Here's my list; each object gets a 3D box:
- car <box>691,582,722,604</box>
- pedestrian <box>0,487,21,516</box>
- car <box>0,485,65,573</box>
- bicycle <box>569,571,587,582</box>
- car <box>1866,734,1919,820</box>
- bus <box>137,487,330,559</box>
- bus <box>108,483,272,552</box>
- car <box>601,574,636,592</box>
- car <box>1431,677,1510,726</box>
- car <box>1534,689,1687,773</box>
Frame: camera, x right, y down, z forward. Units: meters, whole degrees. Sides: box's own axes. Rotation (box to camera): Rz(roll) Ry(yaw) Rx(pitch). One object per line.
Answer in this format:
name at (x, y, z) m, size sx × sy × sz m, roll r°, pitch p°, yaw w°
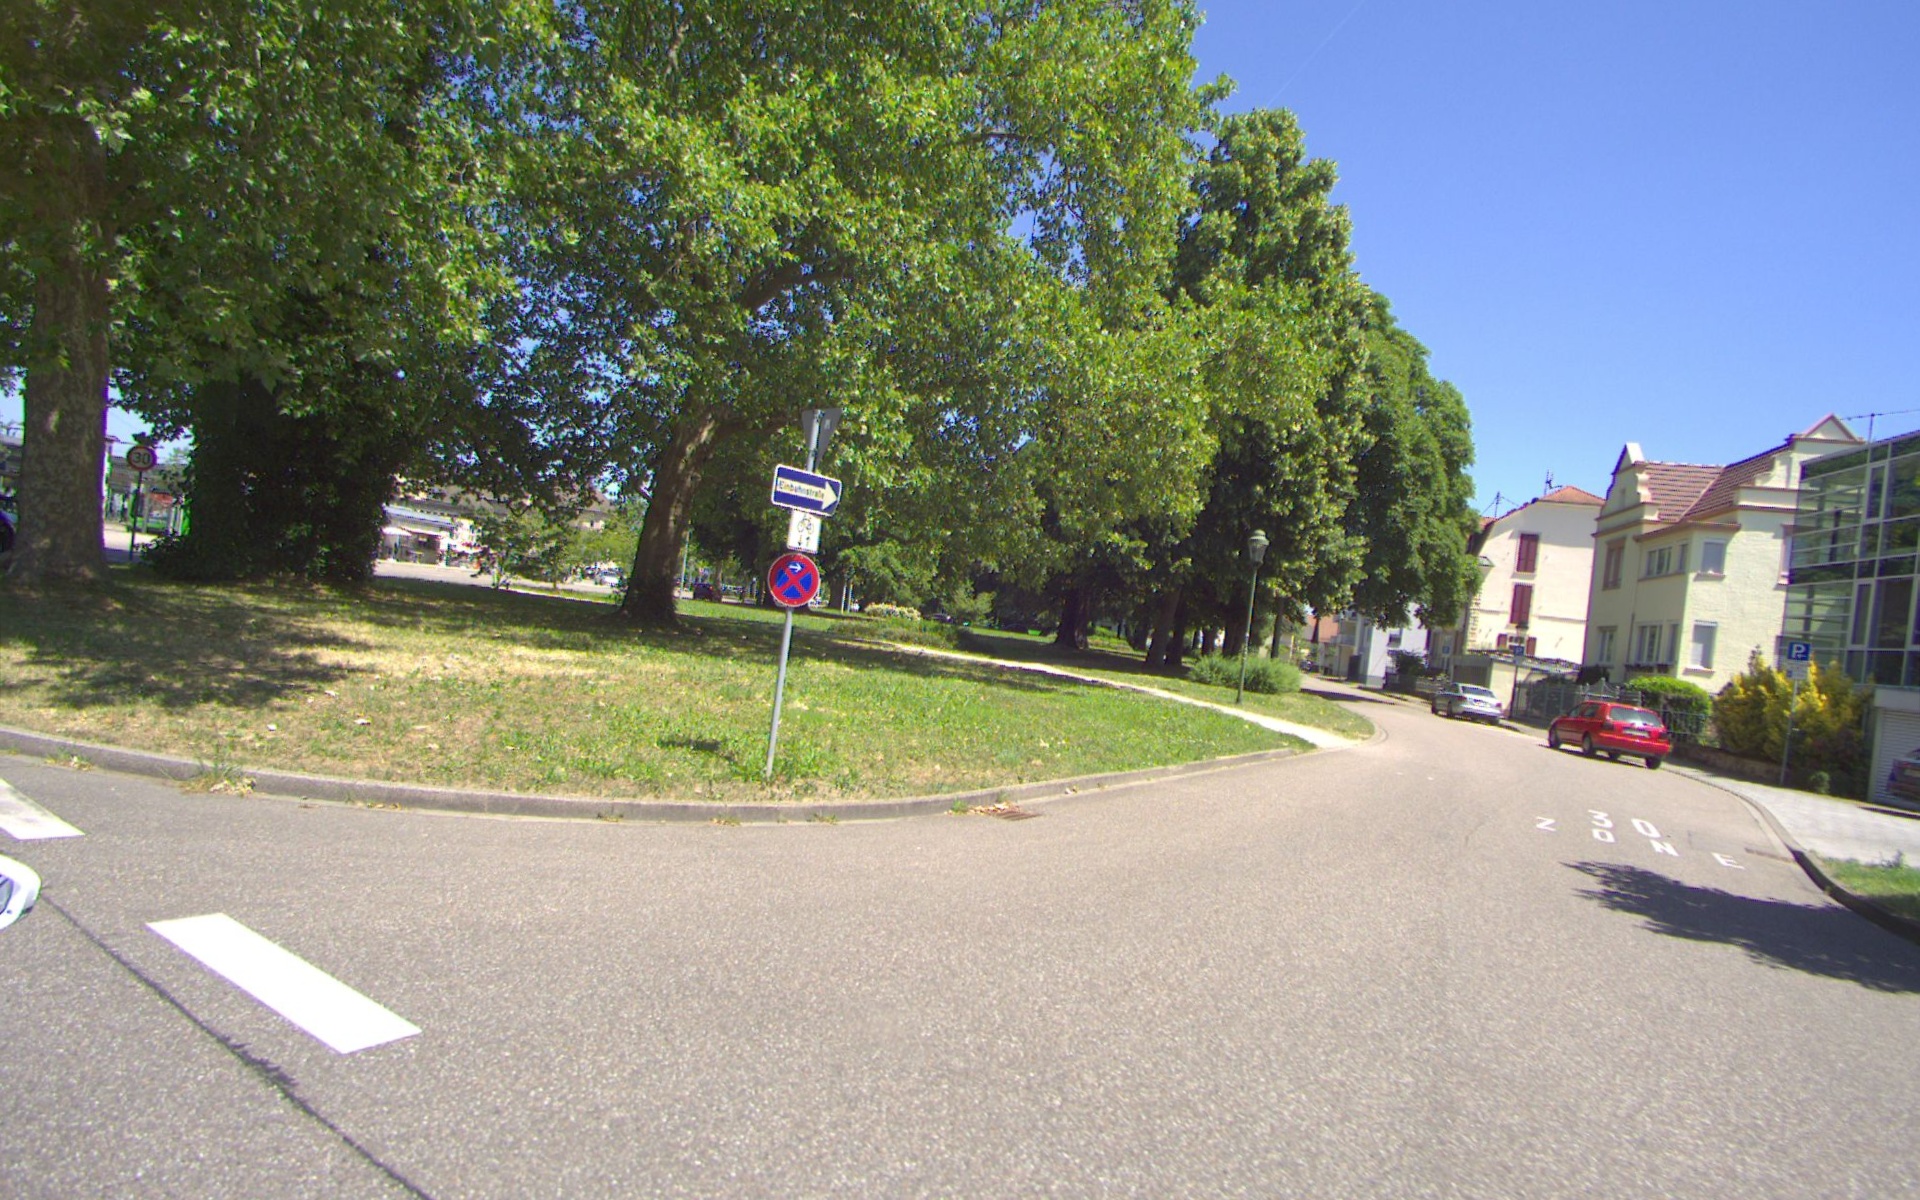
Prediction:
car at (-20.294, -0.549, 80.681) m, size 1.694 × 1.496 × 3.703 m, roll 7°, pitch -1°, yaw -6°
pedestrian at (-59.152, -6.124, 62.514) m, size 0.810 × 1.637 × 0.765 m, roll 7°, pitch 1°, yaw -18°
car at (-22.062, -1.698, 22.353) m, size 2.107 × 1.870 × 4.022 m, roll 8°, pitch -1°, yaw -27°
bicycle at (-43.455, -2.697, 114.468) m, size 1.775 × 1.043 × 0.486 m, roll 8°, pitch 0°, yaw -23°
car at (19.305, 3.463, 18.063) m, size 3.924 × 1.408 × 2.001 m, roll 6°, pitch 0°, yaw 16°
bus at (-47.609, -4.856, 66.880) m, size 2.634 × 3.077 × 13.895 m, roll 7°, pitch -1°, yaw -1°
bus at (-55.921, -5.857, 73.706) m, size 2.129 × 3.568 × 12.225 m, roll 7°, pitch -1°, yaw 1°
car at (-31.924, -1.571, 94.165) m, size 1.786 × 1.462 × 4.158 m, roll 4°, pitch 0°, yaw 1°
car at (20.488, 4.035, 40.555) m, size 1.720 × 1.525 × 4.003 m, roll 7°, pitch -1°, yaw 12°
car at (16.528, 3.276, 25.817) m, size 1.720 × 1.542 × 4.003 m, roll 8°, pitch -1°, yaw 10°
